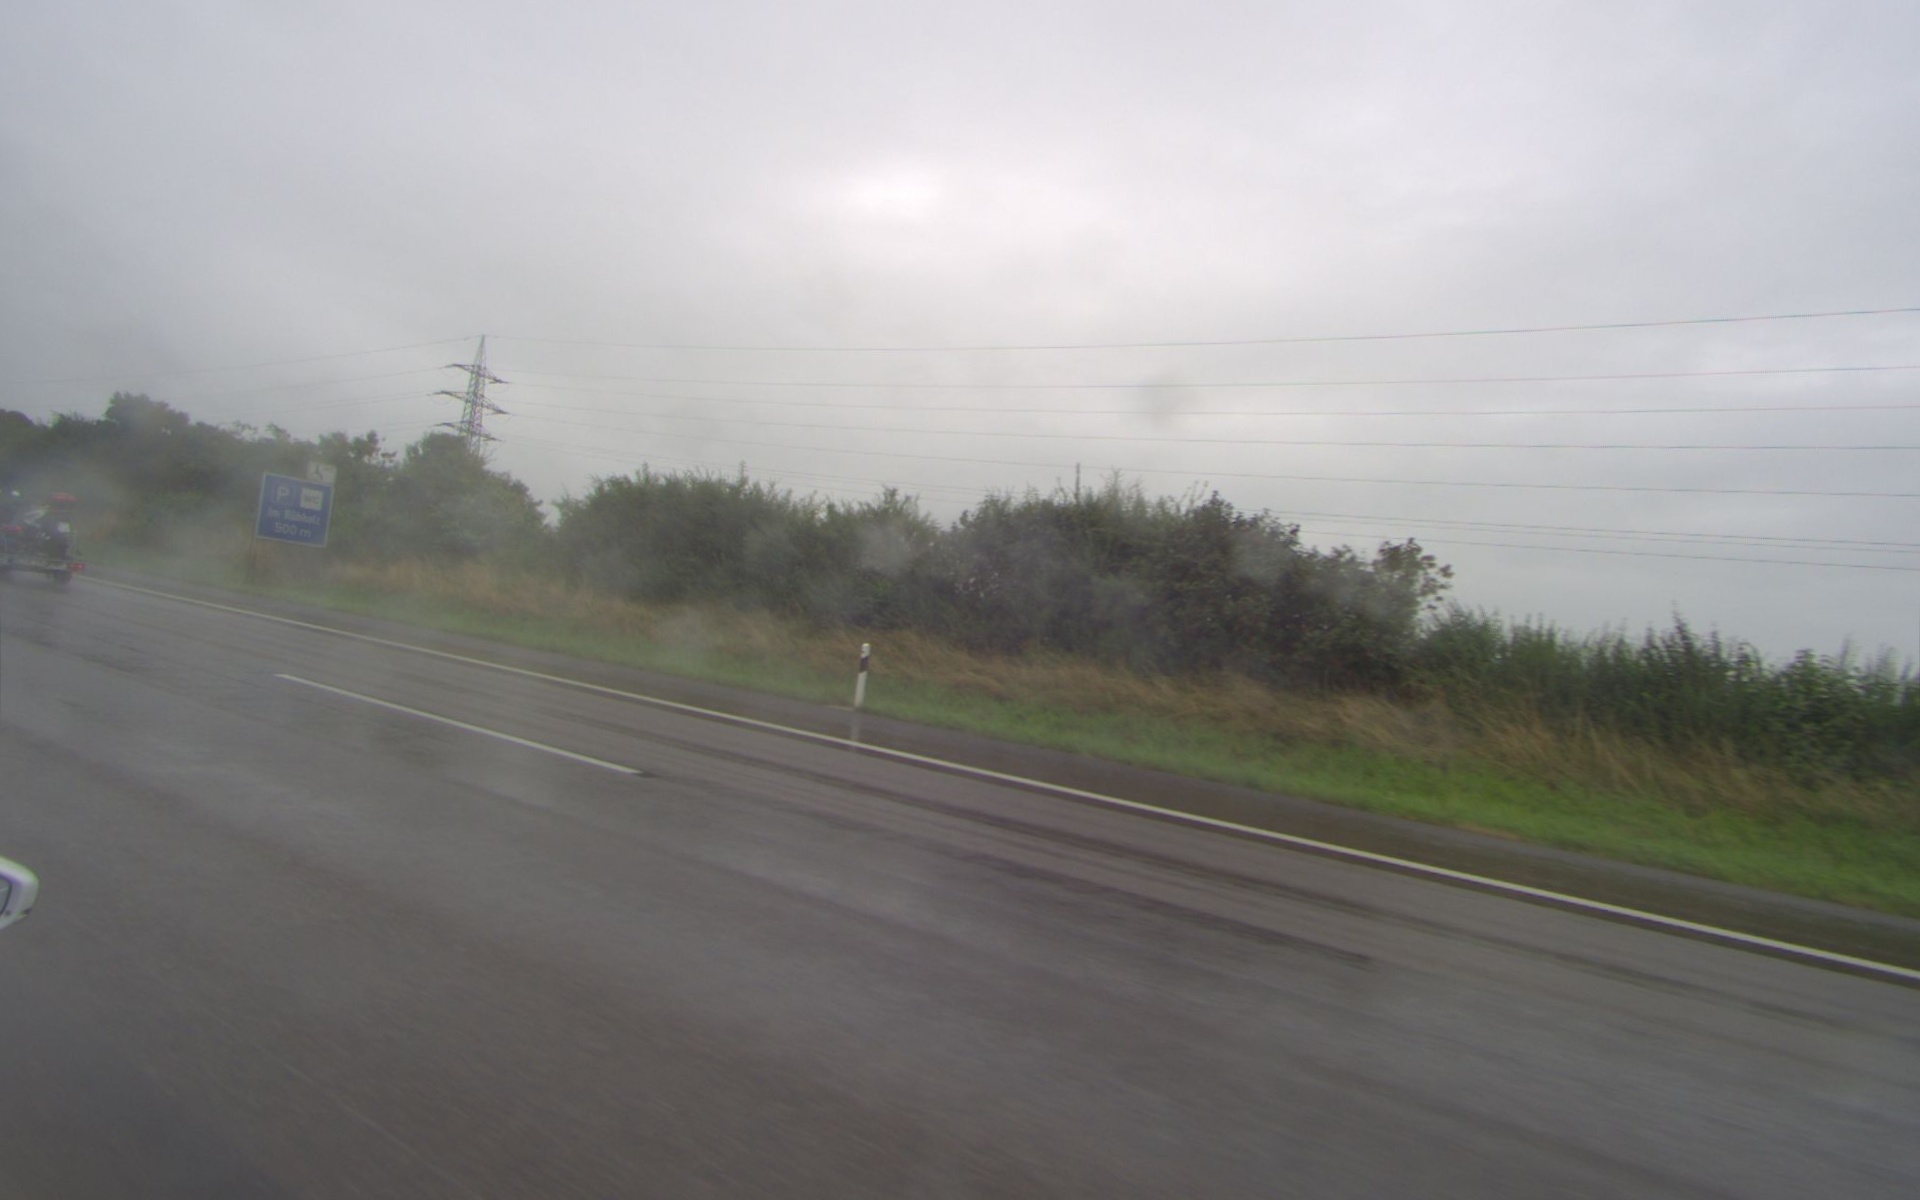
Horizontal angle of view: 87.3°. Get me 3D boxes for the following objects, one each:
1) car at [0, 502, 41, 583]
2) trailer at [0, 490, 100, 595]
[{"bbox_3d":[-22.340,-1.466,21.888,4.909,1.638,1.998,6,-2,31],"label":"car"},{"bbox_3d":[-18.878,-1.215,19.788,3.136,1.805,1.982,6,-2,32],"label":"trailer"}]
